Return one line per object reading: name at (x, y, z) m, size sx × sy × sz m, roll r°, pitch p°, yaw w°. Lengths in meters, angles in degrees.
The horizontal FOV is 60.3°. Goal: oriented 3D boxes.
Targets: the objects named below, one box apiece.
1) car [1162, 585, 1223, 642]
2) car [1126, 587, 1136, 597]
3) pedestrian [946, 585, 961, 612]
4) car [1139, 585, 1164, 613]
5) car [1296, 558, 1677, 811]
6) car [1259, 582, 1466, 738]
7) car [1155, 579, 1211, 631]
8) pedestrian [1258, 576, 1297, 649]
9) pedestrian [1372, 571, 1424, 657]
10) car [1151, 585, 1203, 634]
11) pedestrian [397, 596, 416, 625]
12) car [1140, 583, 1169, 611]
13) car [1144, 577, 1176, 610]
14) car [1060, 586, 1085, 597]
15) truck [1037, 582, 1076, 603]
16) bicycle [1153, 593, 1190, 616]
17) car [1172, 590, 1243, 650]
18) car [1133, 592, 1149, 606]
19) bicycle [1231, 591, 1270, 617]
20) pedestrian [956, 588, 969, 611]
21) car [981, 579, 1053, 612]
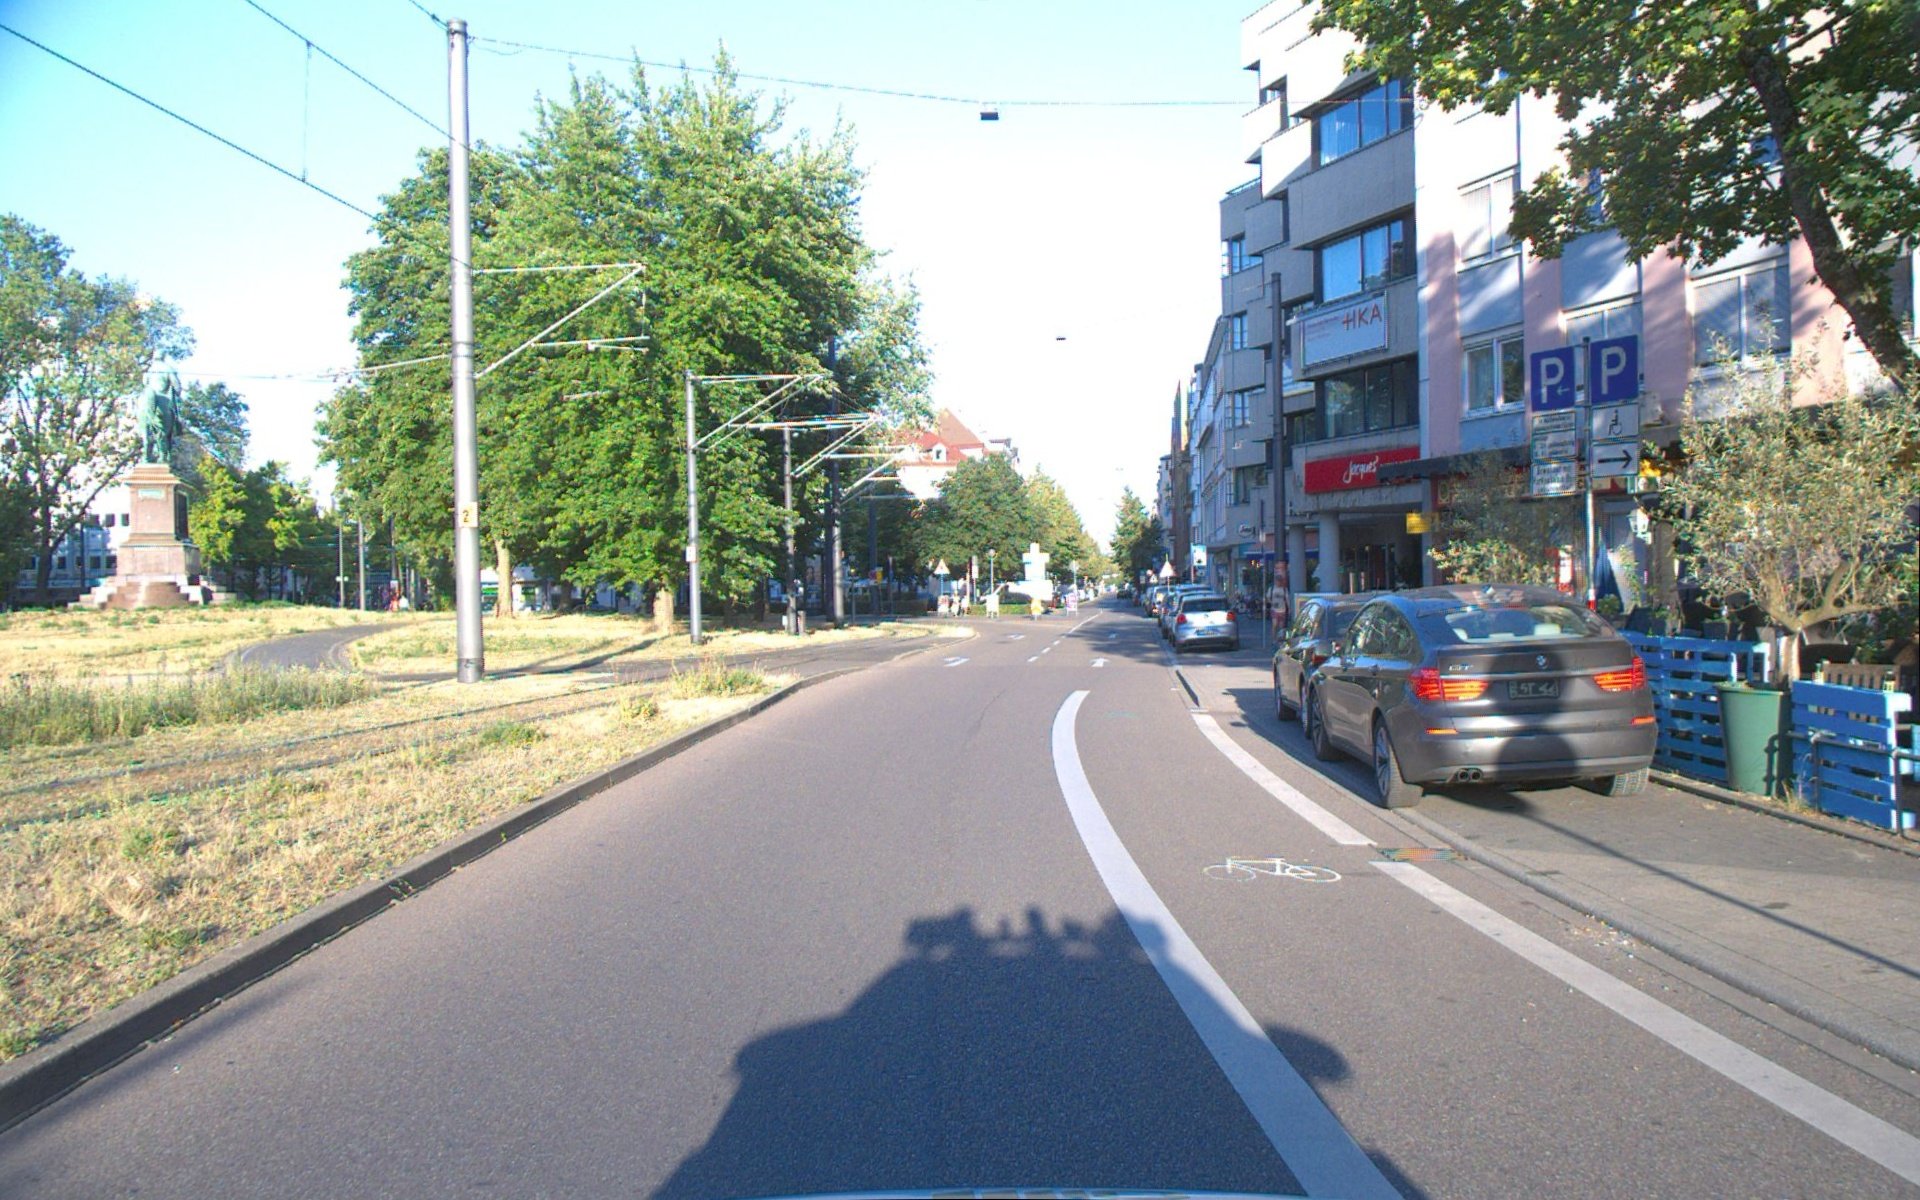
car at (6.835, 0.375, 48.829) m, size 1.551 × 1.618 × 3.670 m, roll 0°, pitch 0°, yaw 4°
car at (22.696, -1.077, 219.678) m, size 1.181 × 1.323 × 2.661 m, roll 0°, pitch -1°, yaw 2°
pedestrian at (-0.401, -0.096, 100.027) m, size 0.690 × 1.586 × 0.688 m, roll 0°, pitch 0°, yaw -30°
car at (13.293, -0.075, 114.627) m, size 1.673 × 1.867 × 4.309 m, roll 0°, pitch 0°, yaw 7°
car at (4.026, 0.541, 13.521) m, size 1.767 × 1.699 × 4.814 m, roll 0°, pitch 1°, yaw 2°
car at (4.403, 0.586, 18.618) m, size 1.616 × 1.561 × 4.069 m, roll 0°, pitch 0°, yaw 4°
car at (8.107, 0.153, 60.309) m, size 1.746 × 1.836 × 4.404 m, roll 0°, pitch 0°, yaw 4°
pedestrian at (7.930, 0.306, 41.293) m, size 0.629 × 1.817 × 0.853 m, roll 0°, pitch 0°, yaw -18°
pedestrian at (8.674, 0.269, 32.794) m, size 0.629 × 1.655 × 0.853 m, roll -1°, pitch 0°, yaw -18°
car at (7.182, 0.294, 55.030) m, size 1.606 × 1.555 × 4.003 m, roll 0°, pitch 0°, yaw 6°
pedestrian at (-36.551, 0.708, 109.183) m, size 0.843 × 1.872 × 0.997 m, roll 0°, pitch 2°, yaw 6°
car at (11.983, -0.216, 102.170) m, size 1.621 × 1.694 × 4.110 m, roll 0°, pitch 0°, yaw 5°
car at (11.660, -0.359, 96.739) m, size 1.754 × 1.823 × 4.094 m, roll -1°, pitch 0°, yaw 6°
car at (16.539, -1.292, 243.675) m, size 3.660 × 1.519 × 2.001 m, roll -1°, pitch 0°, yaw 5°
truck at (12.356, -0.955, 211.038) m, size 4.836 × 2.661 × 2.001 m, roll -1°, pitch 0°, yaw 5°
bicycle at (10.818, 0.232, 84.785) m, size 1.754 × 1.007 × 0.541 m, roll -4°, pitch 1°, yaw 29°
car at (6.490, 0.506, 43.708) m, size 1.747 × 1.482 × 4.003 m, roll -1°, pitch 0°, yaw 7°
car at (20.561, -0.101, 187.537) m, size 1.544 × 1.569 × 3.398 m, roll -3°, pitch -1°, yaw 3°
bicycle at (12.786, 0.164, 72.724) m, size 1.869 × 1.022 × 0.453 m, roll -3°, pitch 0°, yaw -34°
pedestrian at (0.176, -0.011, 100.404) m, size 0.557 × 1.388 × 0.608 m, roll 0°, pitch 0°, yaw -31°
car at (3.956, -0.294, 114.938) m, size 4.533 × 2.290 × 2.189 m, roll 0°, pitch 0°, yaw -21°
